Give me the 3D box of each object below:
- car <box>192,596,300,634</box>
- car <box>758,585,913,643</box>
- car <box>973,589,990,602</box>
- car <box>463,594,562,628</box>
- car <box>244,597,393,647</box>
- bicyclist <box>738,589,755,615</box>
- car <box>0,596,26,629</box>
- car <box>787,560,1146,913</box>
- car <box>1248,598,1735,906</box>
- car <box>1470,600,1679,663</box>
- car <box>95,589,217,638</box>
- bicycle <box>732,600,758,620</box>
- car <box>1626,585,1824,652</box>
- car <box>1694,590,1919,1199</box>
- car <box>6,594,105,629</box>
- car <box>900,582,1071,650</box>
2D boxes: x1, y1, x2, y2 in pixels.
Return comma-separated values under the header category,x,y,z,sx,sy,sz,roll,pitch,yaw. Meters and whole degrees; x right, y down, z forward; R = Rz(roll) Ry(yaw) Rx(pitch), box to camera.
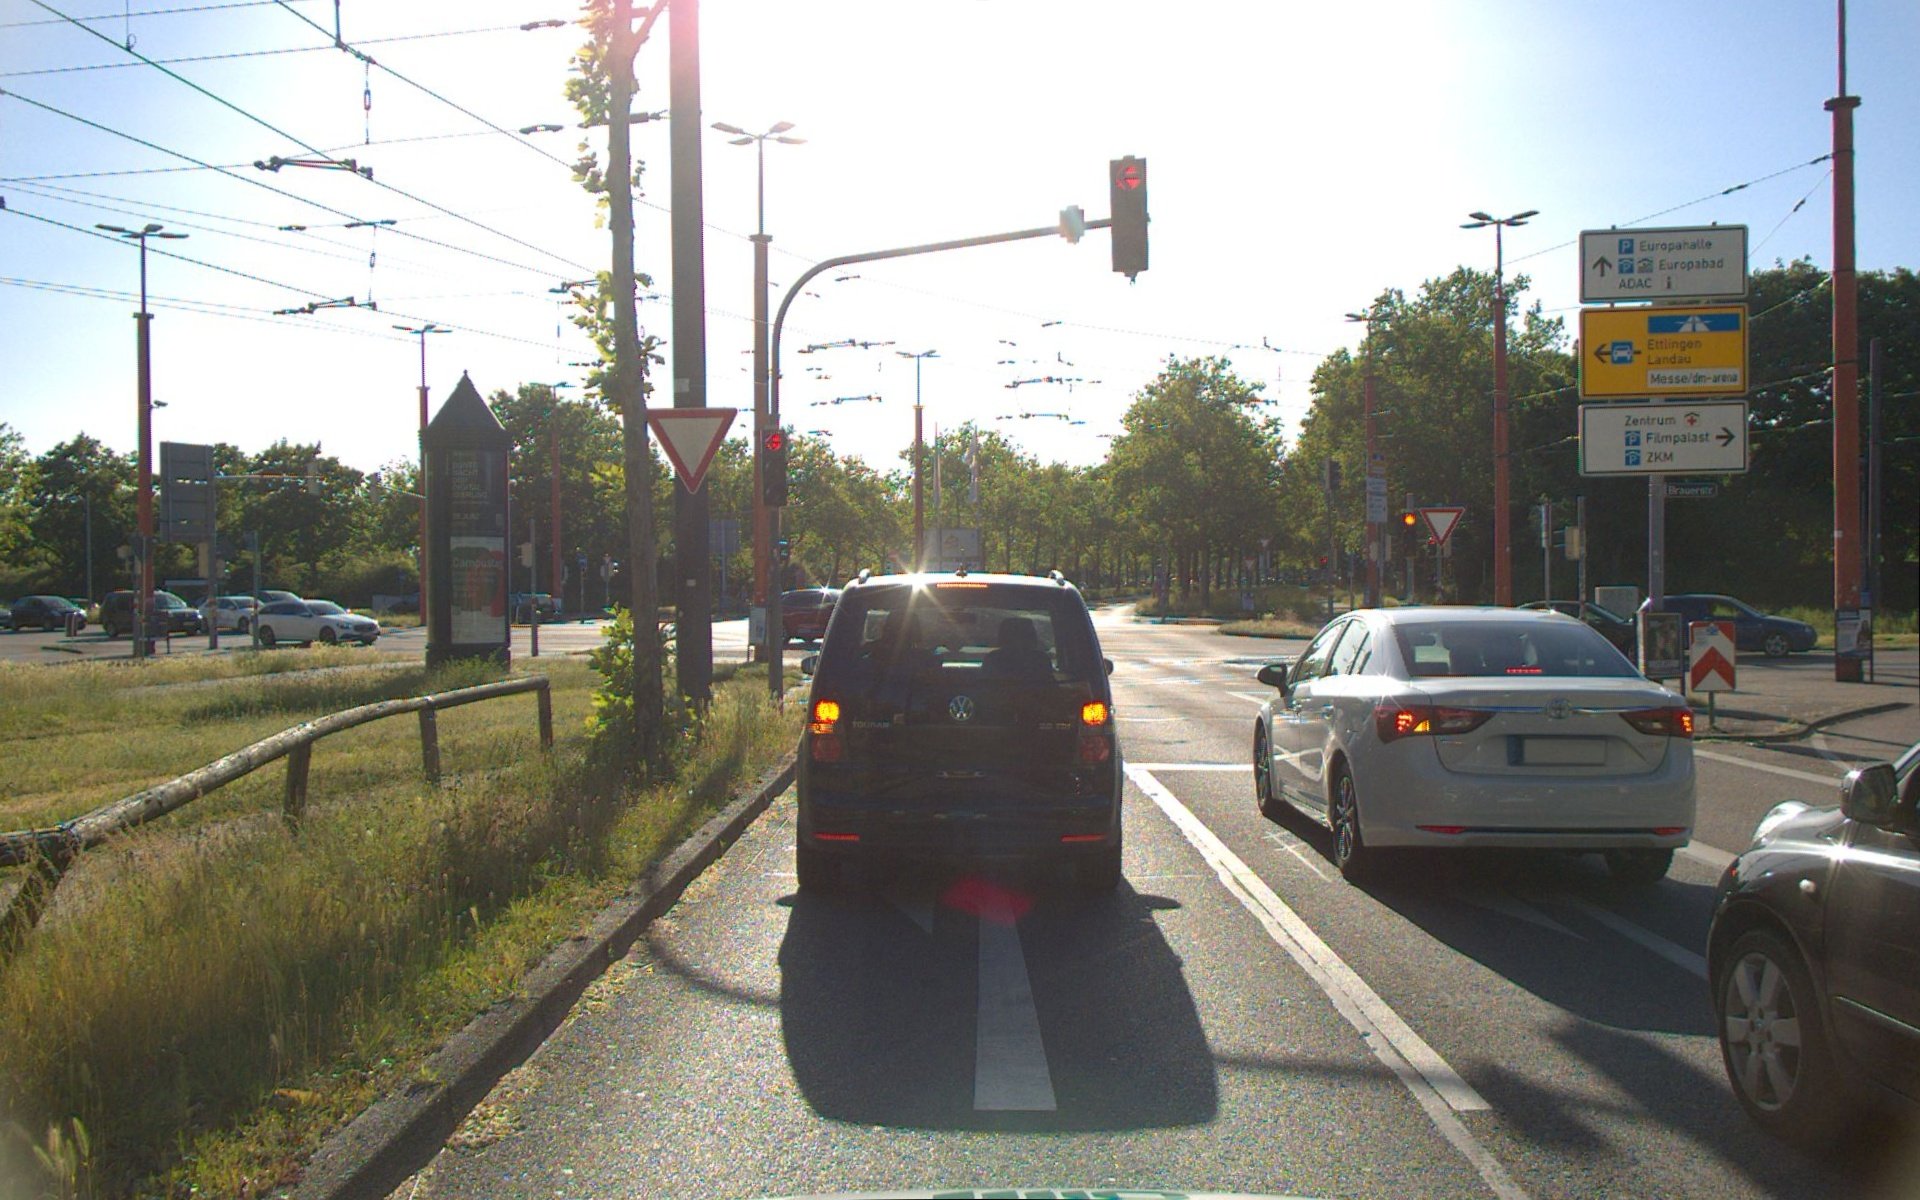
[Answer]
category,x,y,z,sx,sy,sz,roll,pitch,yaw
car,-29.353,0.603,67.997,4.127,1.489,1.912,0,0,27
car,-3.818,0.416,50.647,4.463,1.697,1.840,0,0,28
car,2.357,-0.486,178.166,1.623,1.333,3.817,0,0,4
car,-21.691,0.510,80.167,4.365,1.624,1.998,0,0,26
car,-21.621,0.717,55.754,4.818,1.602,1.998,0,0,27
bicyclist,-12.209,0.092,94.446,0.678,1.483,0.875,0,0,17
car,-45.059,0.580,75.774,4.143,1.489,1.913,0,0,26
car,0.004,0.641,9.872,1.702,1.670,3.999,0,0,-1
car,2.945,0.738,10.117,1.679,1.480,4.144,0,0,0
car,13.846,0.679,37.294,4.222,1.350,1.759,0,0,29
car,-31.810,0.509,65.424,4.687,1.868,1.912,0,0,27
bicycle,-12.240,0.567,94.227,0.719,1.109,1.962,0,0,18
car,18.079,0.411,39.111,4.140,1.505,1.751,0,0,29
car,3.125,0.740,3.518,1.525,1.532,3.515,0,0,-1
car,-40.011,0.502,73.166,3.963,1.489,1.912,0,0,26
car,0.682,0.408,44.477,4.260,1.762,1.840,0,0,27
